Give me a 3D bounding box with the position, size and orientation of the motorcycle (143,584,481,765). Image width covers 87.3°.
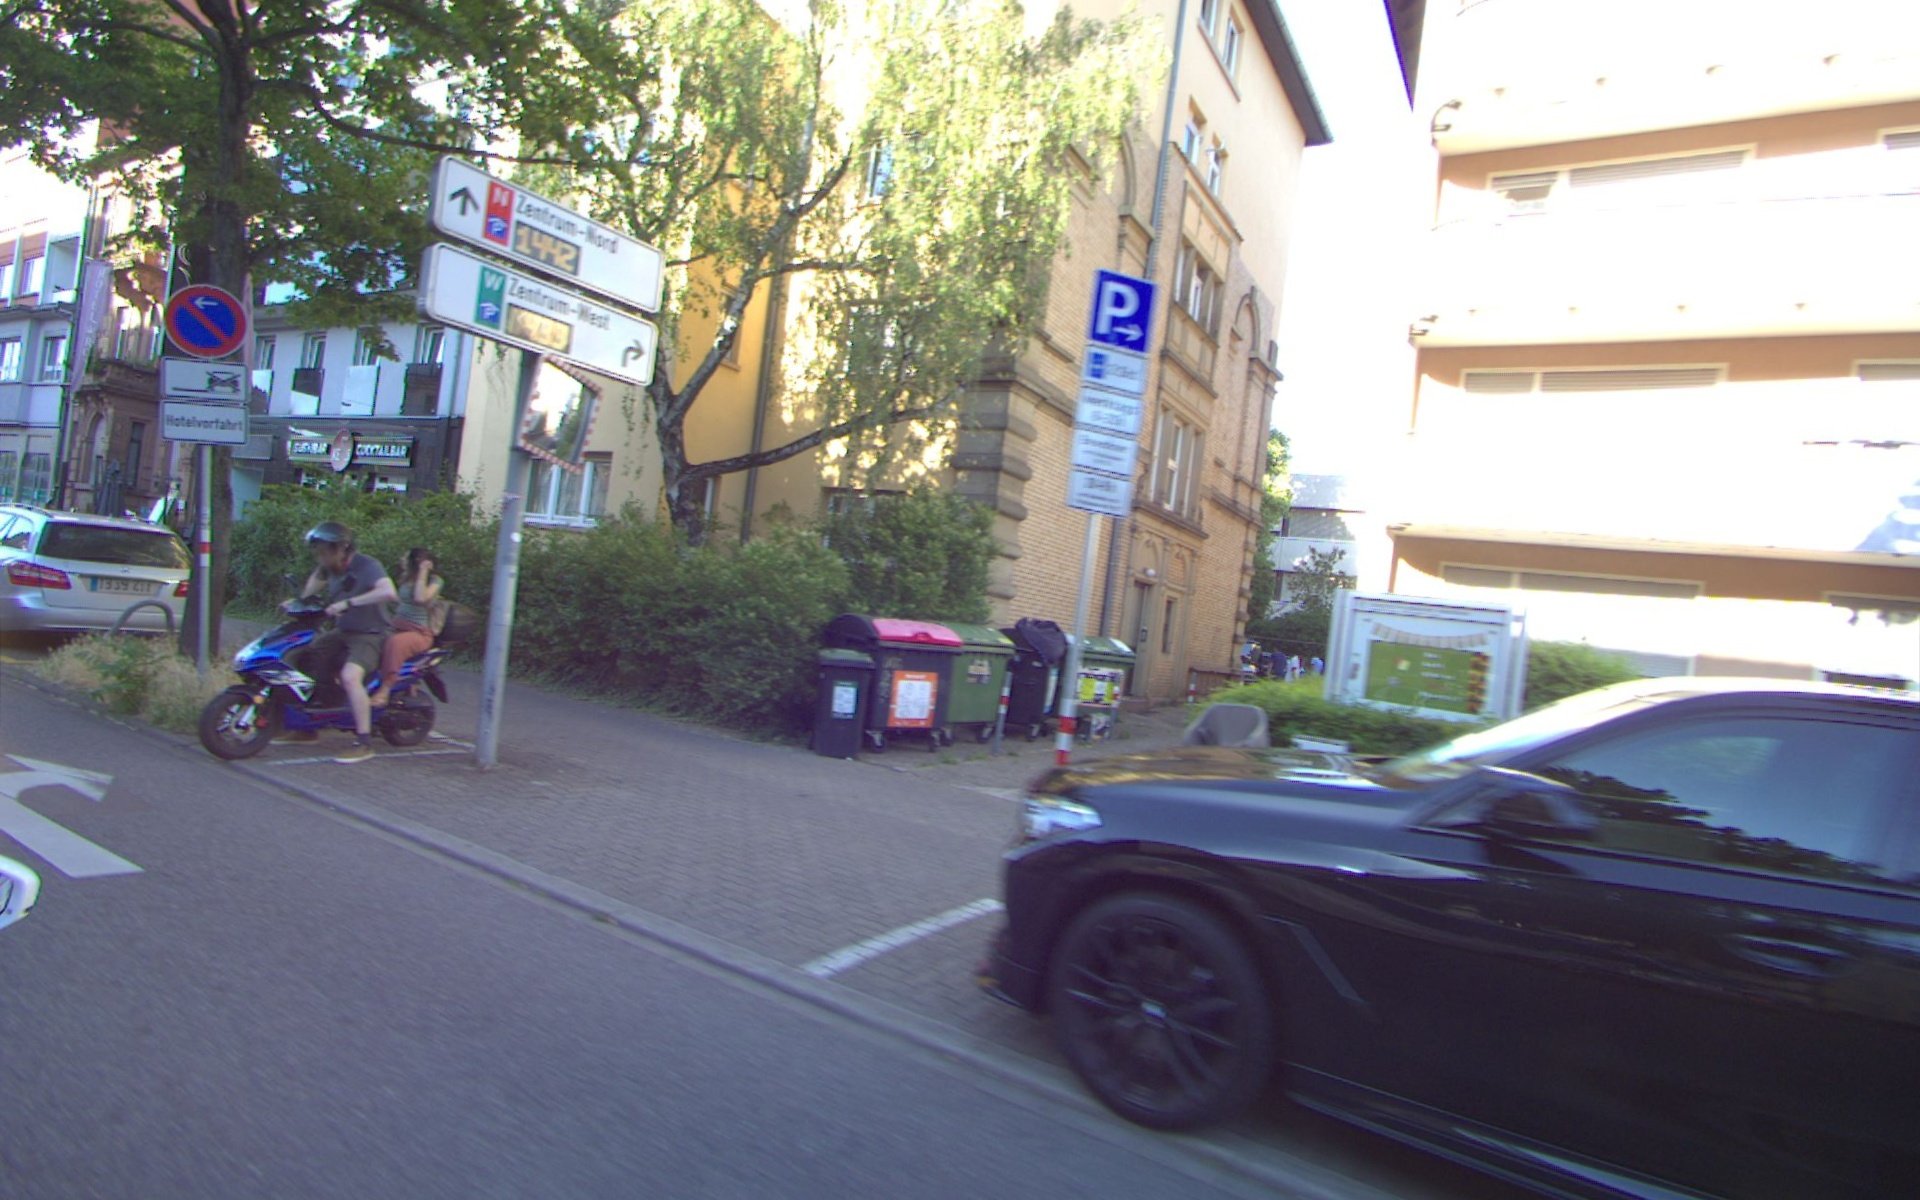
[{"bbox_3d":[-4.707,0.547,7.511,0.805,1.083,1.933,7,-1,20],"label":"motorcycle"}]

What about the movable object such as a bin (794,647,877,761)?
[{"bbox_3d":[-1.271,1.063,10.296,0.541,1.071,0.493,7,0,44],"label":"movable object such as a bin"}]

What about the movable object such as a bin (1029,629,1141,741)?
[{"bbox_3d":[1.853,1.252,14.938,1.130,1.459,0.987,8,0,-30],"label":"movable object such as a bin"}]

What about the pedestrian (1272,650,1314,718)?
[{"bbox_3d":[9.389,2.356,28.355,0.768,1.772,0.639,7,-4,34],"label":"pedestrian"}]

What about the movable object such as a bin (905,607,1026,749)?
[{"bbox_3d":[0.087,0.960,12.614,0.976,1.574,1.158,7,0,22],"label":"movable object such as a bin"}]

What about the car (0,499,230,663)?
[{"bbox_3d":[-10.784,-0.343,11.895,4.756,1.531,1.857,7,0,34],"label":"car"}]

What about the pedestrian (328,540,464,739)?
[{"bbox_3d":[-4.420,0.306,7.895,0.691,1.447,0.440,7,0,20],"label":"pedestrian"}]

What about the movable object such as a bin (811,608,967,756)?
[{"bbox_3d":[-0.789,0.924,11.224,1.249,1.459,0.982,8,-1,-44],"label":"movable object such as a bin"}]

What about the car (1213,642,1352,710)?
[{"bbox_3d":[11.322,2.601,35.323,4.244,1.687,1.997,8,2,25],"label":"car"}]

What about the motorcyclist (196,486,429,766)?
[{"bbox_3d":[-4.647,0.179,7.246,1.068,1.799,0.738,7,0,20],"label":"motorcyclist"}]

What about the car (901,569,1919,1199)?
[{"bbox_3d":[2.376,1.046,3.319,4.716,1.674,1.951,7,-1,31],"label":"car"}]

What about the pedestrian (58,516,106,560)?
[{"bbox_3d":[-24.095,-1.706,27.606,0.930,1.056,0.691,7,-1,35],"label":"pedestrian"}]

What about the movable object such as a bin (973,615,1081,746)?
[{"bbox_3d":[0.928,1.082,13.669,0.976,1.574,1.158,7,0,22],"label":"movable object such as a bin"}]
